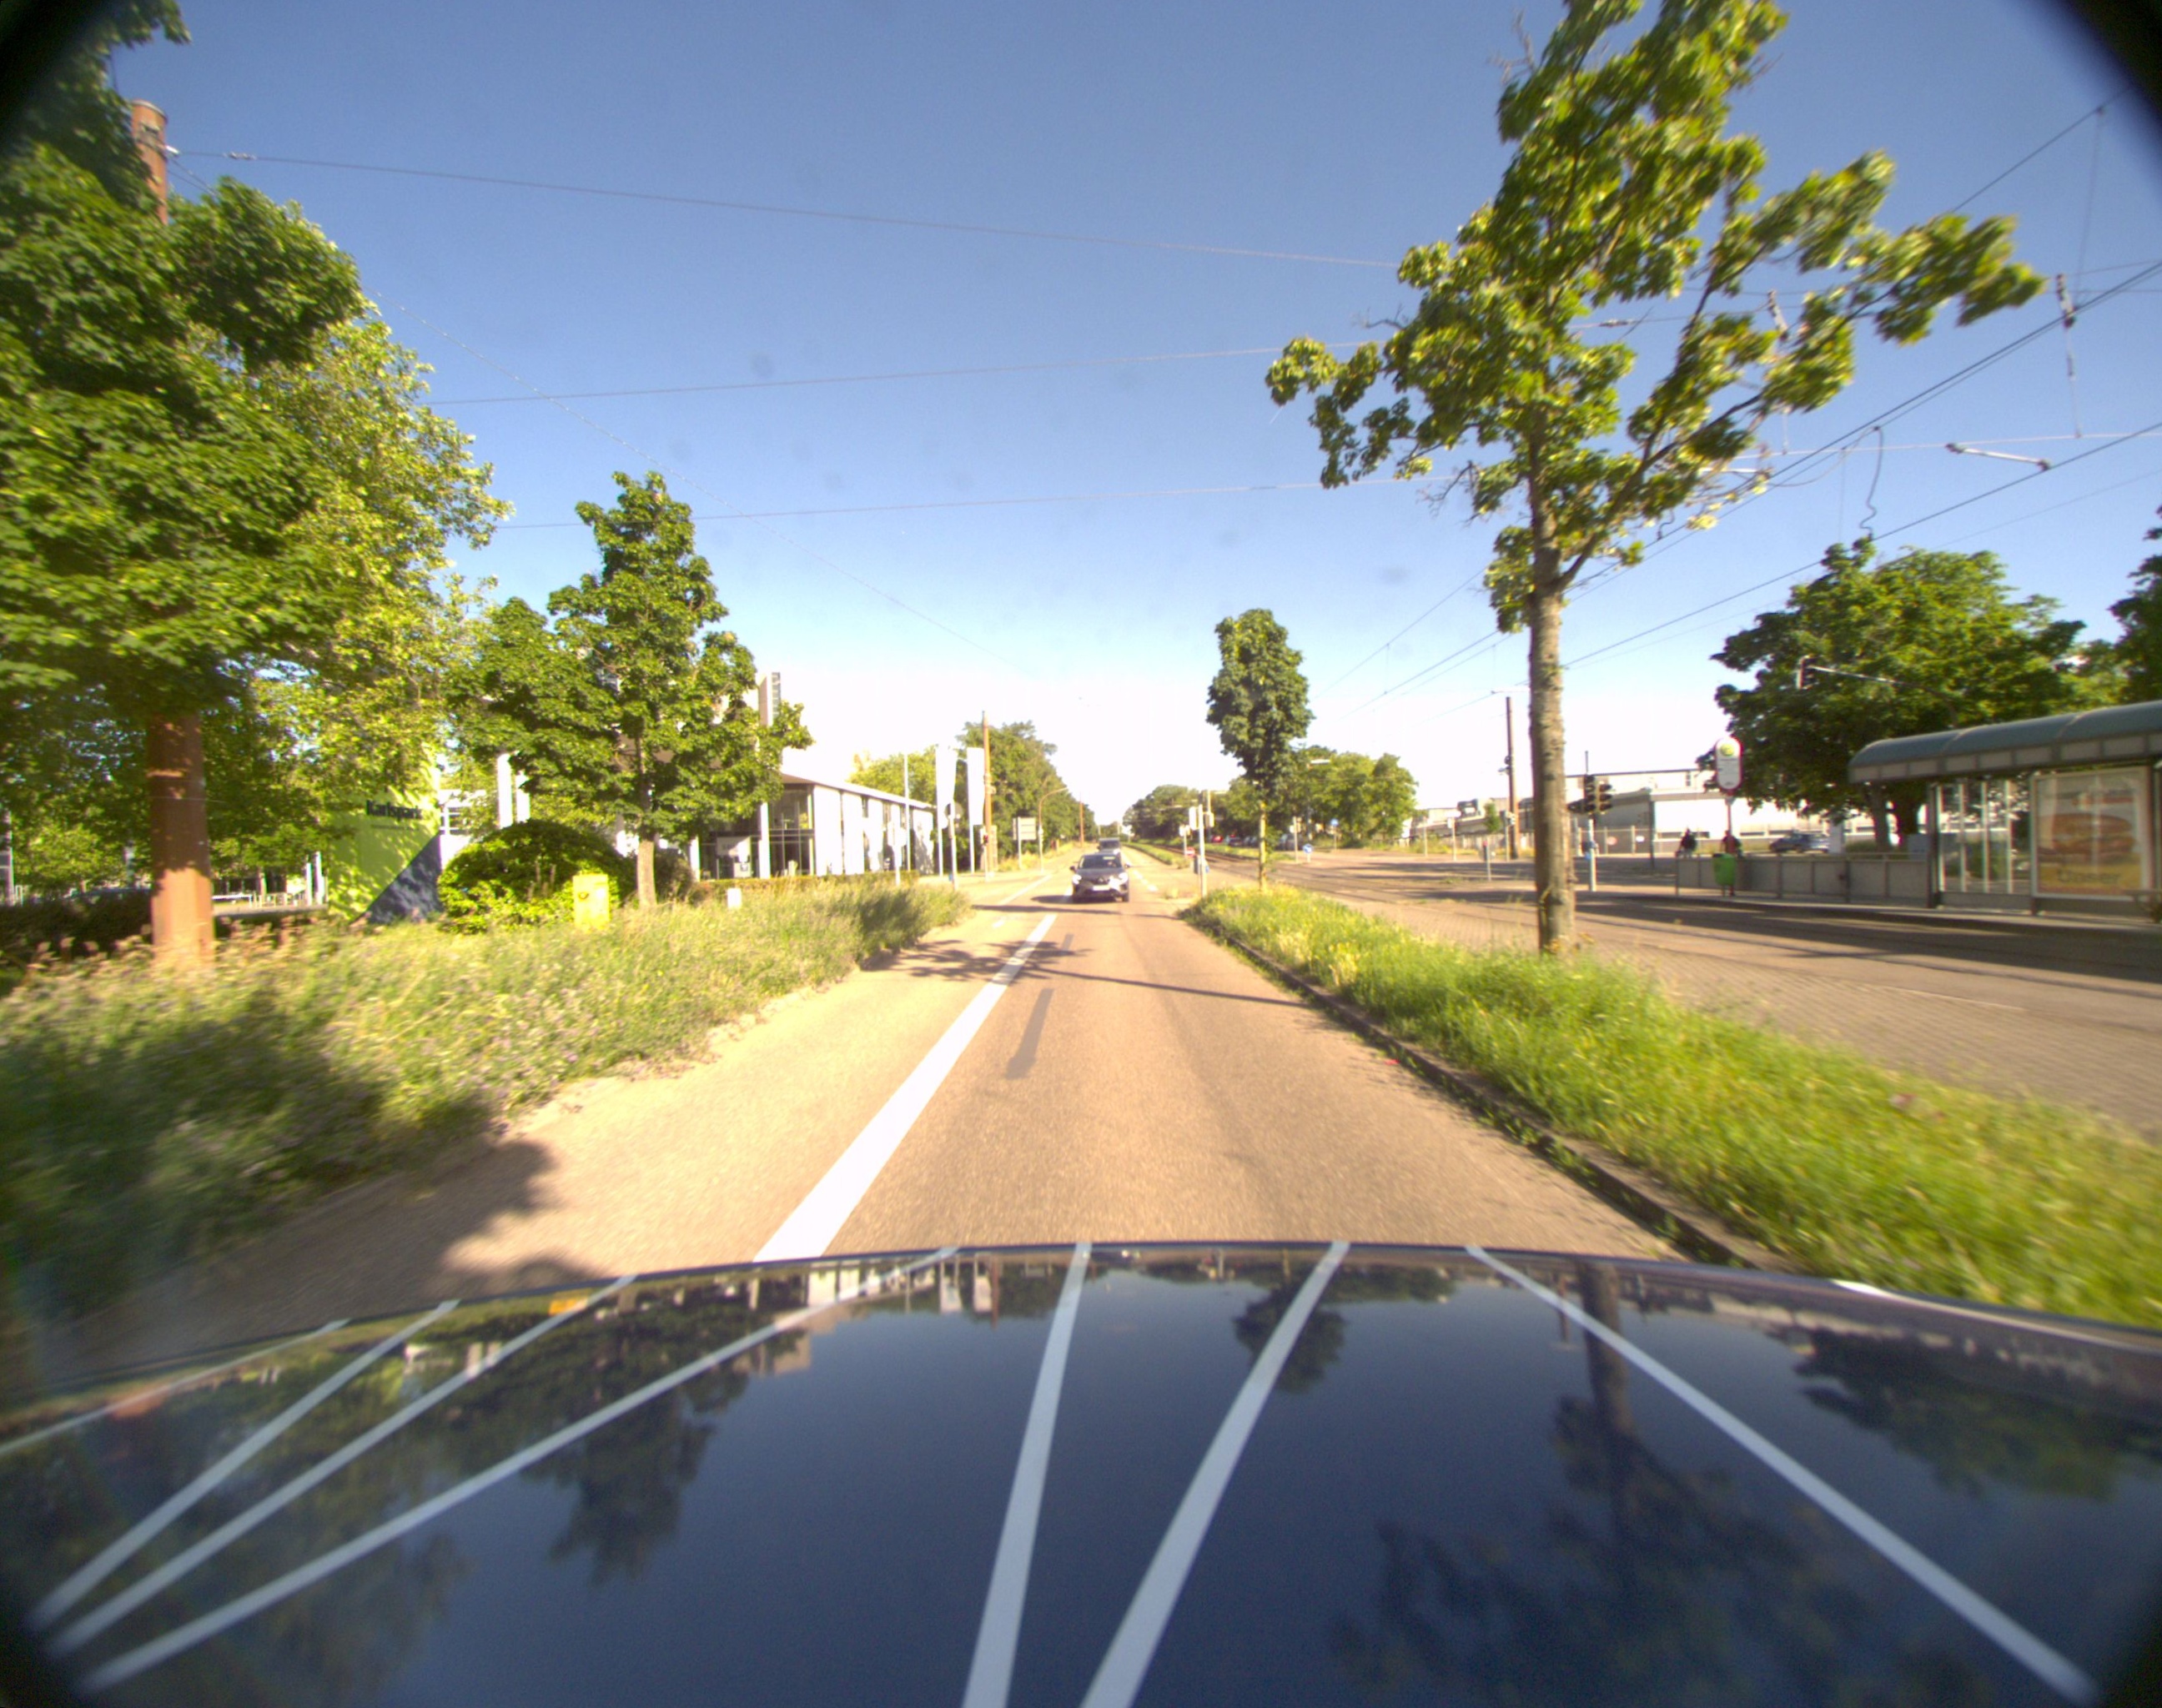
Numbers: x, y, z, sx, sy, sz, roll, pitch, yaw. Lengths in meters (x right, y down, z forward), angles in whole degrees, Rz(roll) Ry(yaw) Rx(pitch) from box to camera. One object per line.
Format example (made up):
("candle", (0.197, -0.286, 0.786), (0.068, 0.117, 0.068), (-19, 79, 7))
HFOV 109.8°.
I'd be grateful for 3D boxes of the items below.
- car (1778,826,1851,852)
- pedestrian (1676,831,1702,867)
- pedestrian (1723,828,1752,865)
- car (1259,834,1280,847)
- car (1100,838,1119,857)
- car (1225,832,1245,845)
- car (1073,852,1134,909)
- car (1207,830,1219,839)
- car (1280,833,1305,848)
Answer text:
("car", (51.518, -1.054, 53.482), (1.996, 1.696, 4.004), (-2, 1, 15))
("pedestrian", (28.525, -0.231, 35.643), (0.639, 1.667, 0.805), (-3, 1, -38))
("pedestrian", (28.144, -0.332, 32.550), (0.728, 1.559, 0.791), (-3, 1, -38))
("car", (23.466, -1.641, 94.806), (1.701, 1.575, 3.456), (-1, 0, -1))
("car", (2.711, -0.636, 72.768), (1.555, 1.765, 3.456), (-1, 0, -1))
("car", (19.302, -1.881, 95.319), (1.701, 1.575, 3.456), (-1, 0, -1))
("car", (0.637, 0.788, 24.709), (1.750, 1.585, 4.245), (-2, 1, -1))
("car", (25.397, -3.793, 146.009), (1.701, 1.575, 3.456), (-1, 0, -1))
("car", (24.099, -1.530, 86.736), (1.772, 1.575, 3.456), (-1, 0, -1))
